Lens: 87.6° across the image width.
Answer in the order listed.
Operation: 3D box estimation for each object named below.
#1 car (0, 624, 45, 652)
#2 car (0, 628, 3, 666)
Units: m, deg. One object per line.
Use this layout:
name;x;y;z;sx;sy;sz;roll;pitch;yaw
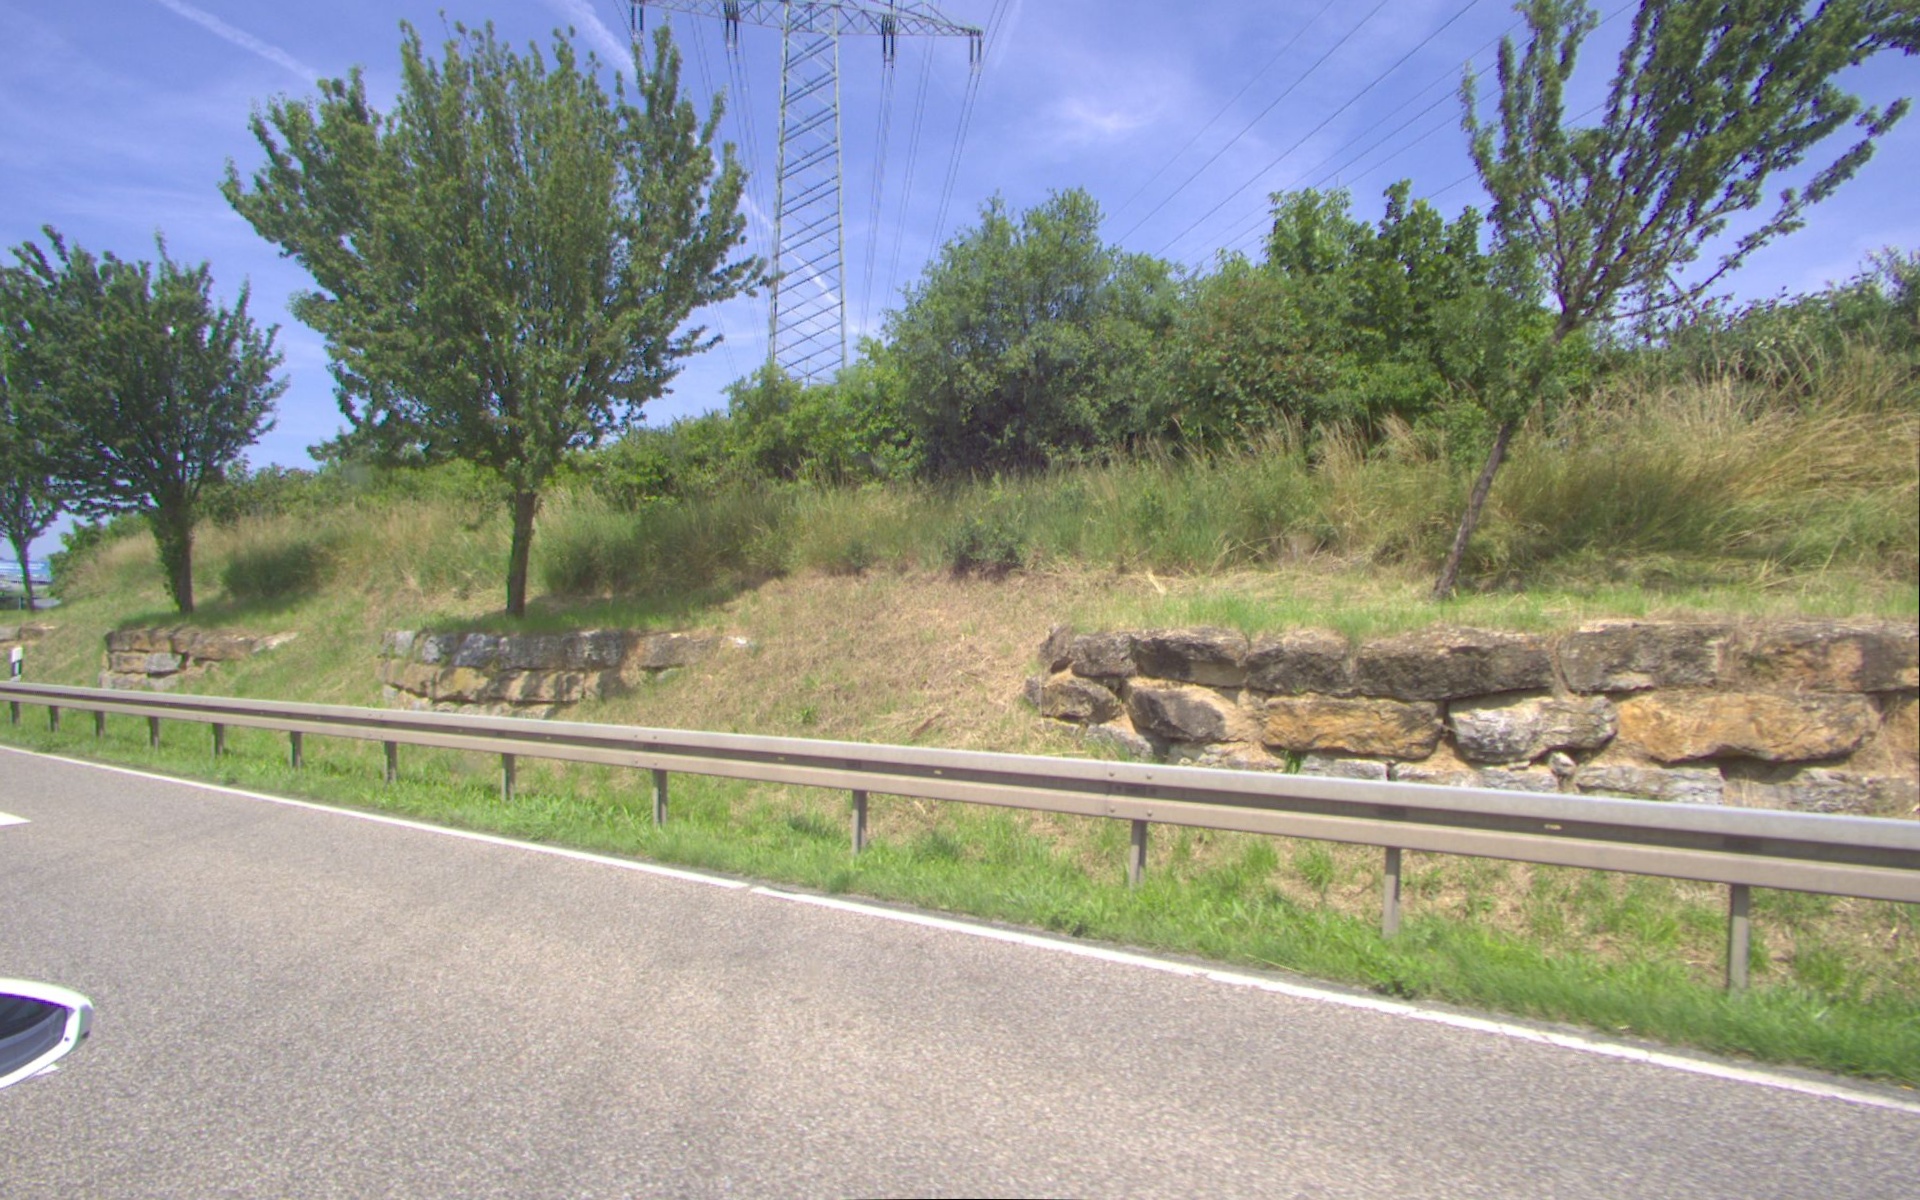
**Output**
car;-53.098;2.093;54.647;1.687;1.530;4.361;-1;-1;23
car;-41.966;1.982;41.642;1.773;1.660;3.989;0;-2;-23
